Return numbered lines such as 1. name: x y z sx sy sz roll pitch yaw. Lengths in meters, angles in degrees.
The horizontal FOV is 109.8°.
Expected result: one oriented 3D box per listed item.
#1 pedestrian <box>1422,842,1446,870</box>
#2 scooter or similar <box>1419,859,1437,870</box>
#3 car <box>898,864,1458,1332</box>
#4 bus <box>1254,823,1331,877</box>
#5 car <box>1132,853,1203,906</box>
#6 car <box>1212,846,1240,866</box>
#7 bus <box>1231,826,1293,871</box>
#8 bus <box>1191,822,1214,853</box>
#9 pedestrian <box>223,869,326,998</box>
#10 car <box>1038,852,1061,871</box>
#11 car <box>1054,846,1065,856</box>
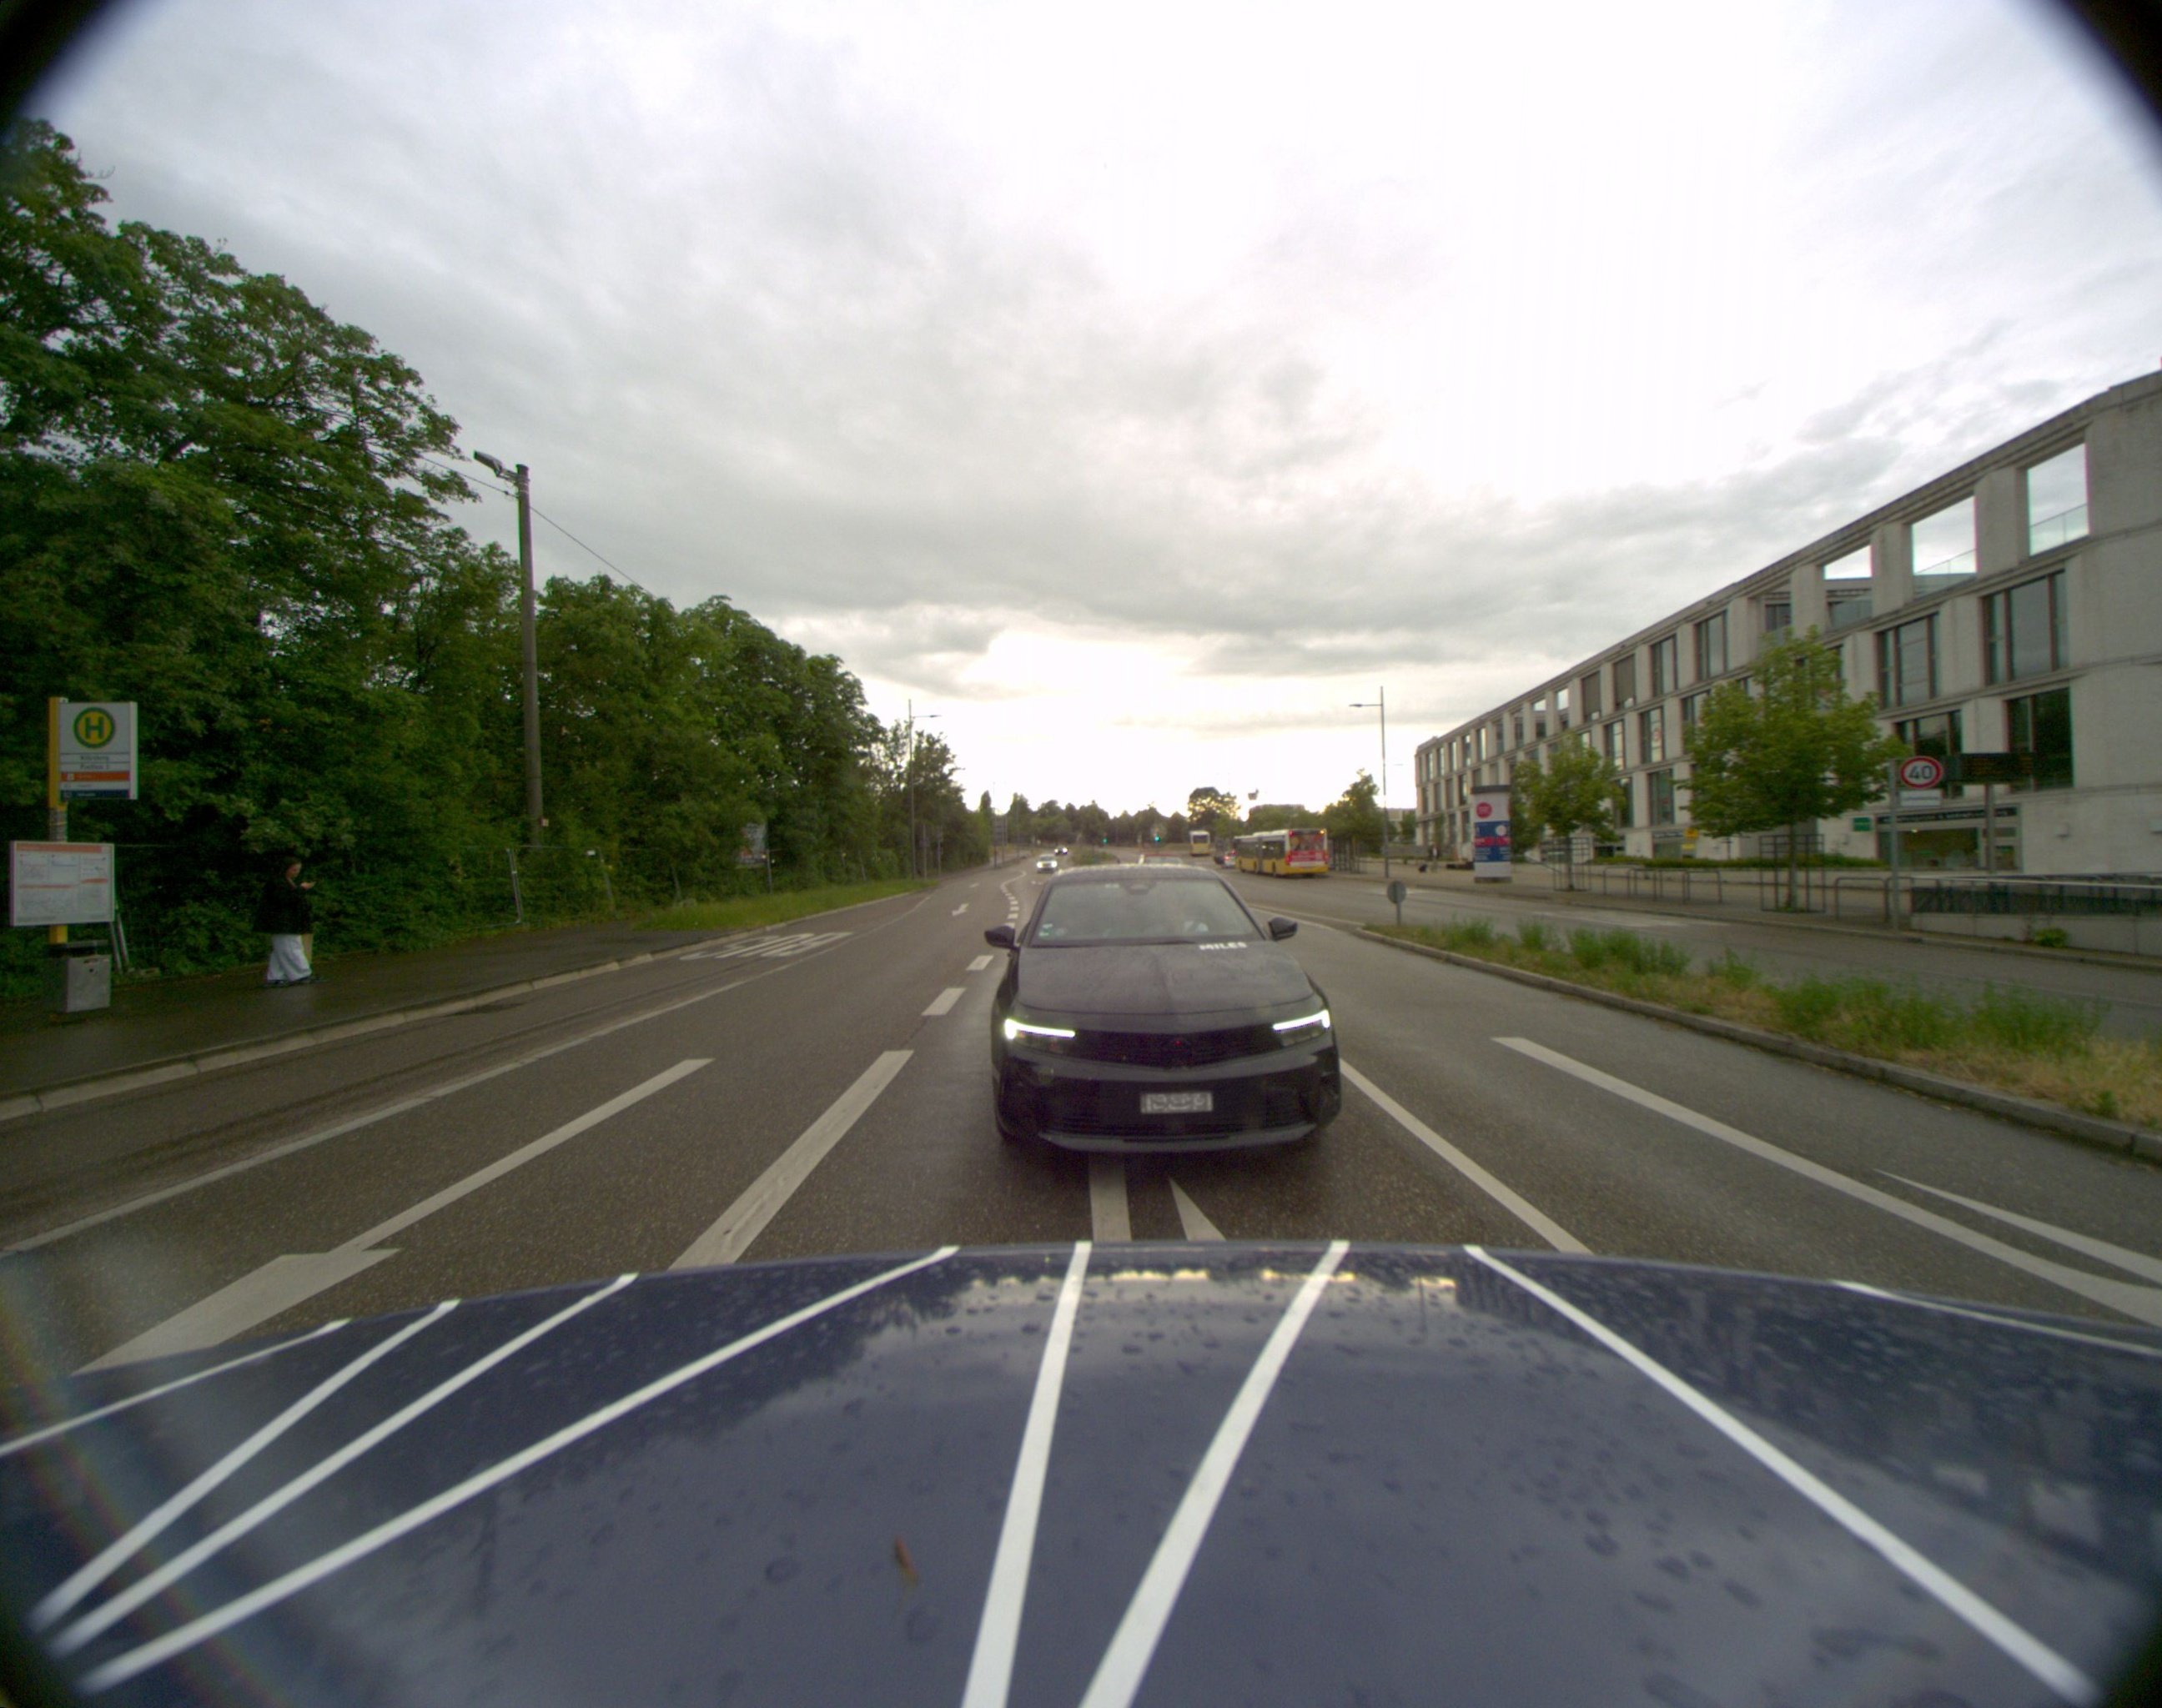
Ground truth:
1. pedestrian: 20.599 0.131 44.337 0.866 1.572 0.983 -2 1 -7
2. scooter or similar: 20.368 0.627 44.611 0.641 0.648 0.833 -1 1 -1
3. car: 0.373 0.893 5.035 1.901 1.456 4.767 -2 1 1
4. bus: 13.820 -0.306 50.528 2.759 3.194 9.207 -2 1 2
5. car: 2.603 0.740 23.580 1.631 1.473 3.505 -1 1 -3
6. car: 13.577 0.168 71.515 1.867 1.777 3.999 -2 1 1
7. bus: 14.110 -0.444 60.033 2.693 3.163 9.912 -2 1 2
8. bus: 18.420 -2.415 114.156 2.757 4.129 19.359 -2 1 11
9. pedestrian: -10.576 1.014 9.983 0.588 1.618 0.661 -1 1 1
10. car: -2.736 0.641 66.156 1.901 1.524 4.766 -2 1 -2
11. car: -3.902 -0.507 136.479 1.934 1.649 4.617 -1 0 -2
